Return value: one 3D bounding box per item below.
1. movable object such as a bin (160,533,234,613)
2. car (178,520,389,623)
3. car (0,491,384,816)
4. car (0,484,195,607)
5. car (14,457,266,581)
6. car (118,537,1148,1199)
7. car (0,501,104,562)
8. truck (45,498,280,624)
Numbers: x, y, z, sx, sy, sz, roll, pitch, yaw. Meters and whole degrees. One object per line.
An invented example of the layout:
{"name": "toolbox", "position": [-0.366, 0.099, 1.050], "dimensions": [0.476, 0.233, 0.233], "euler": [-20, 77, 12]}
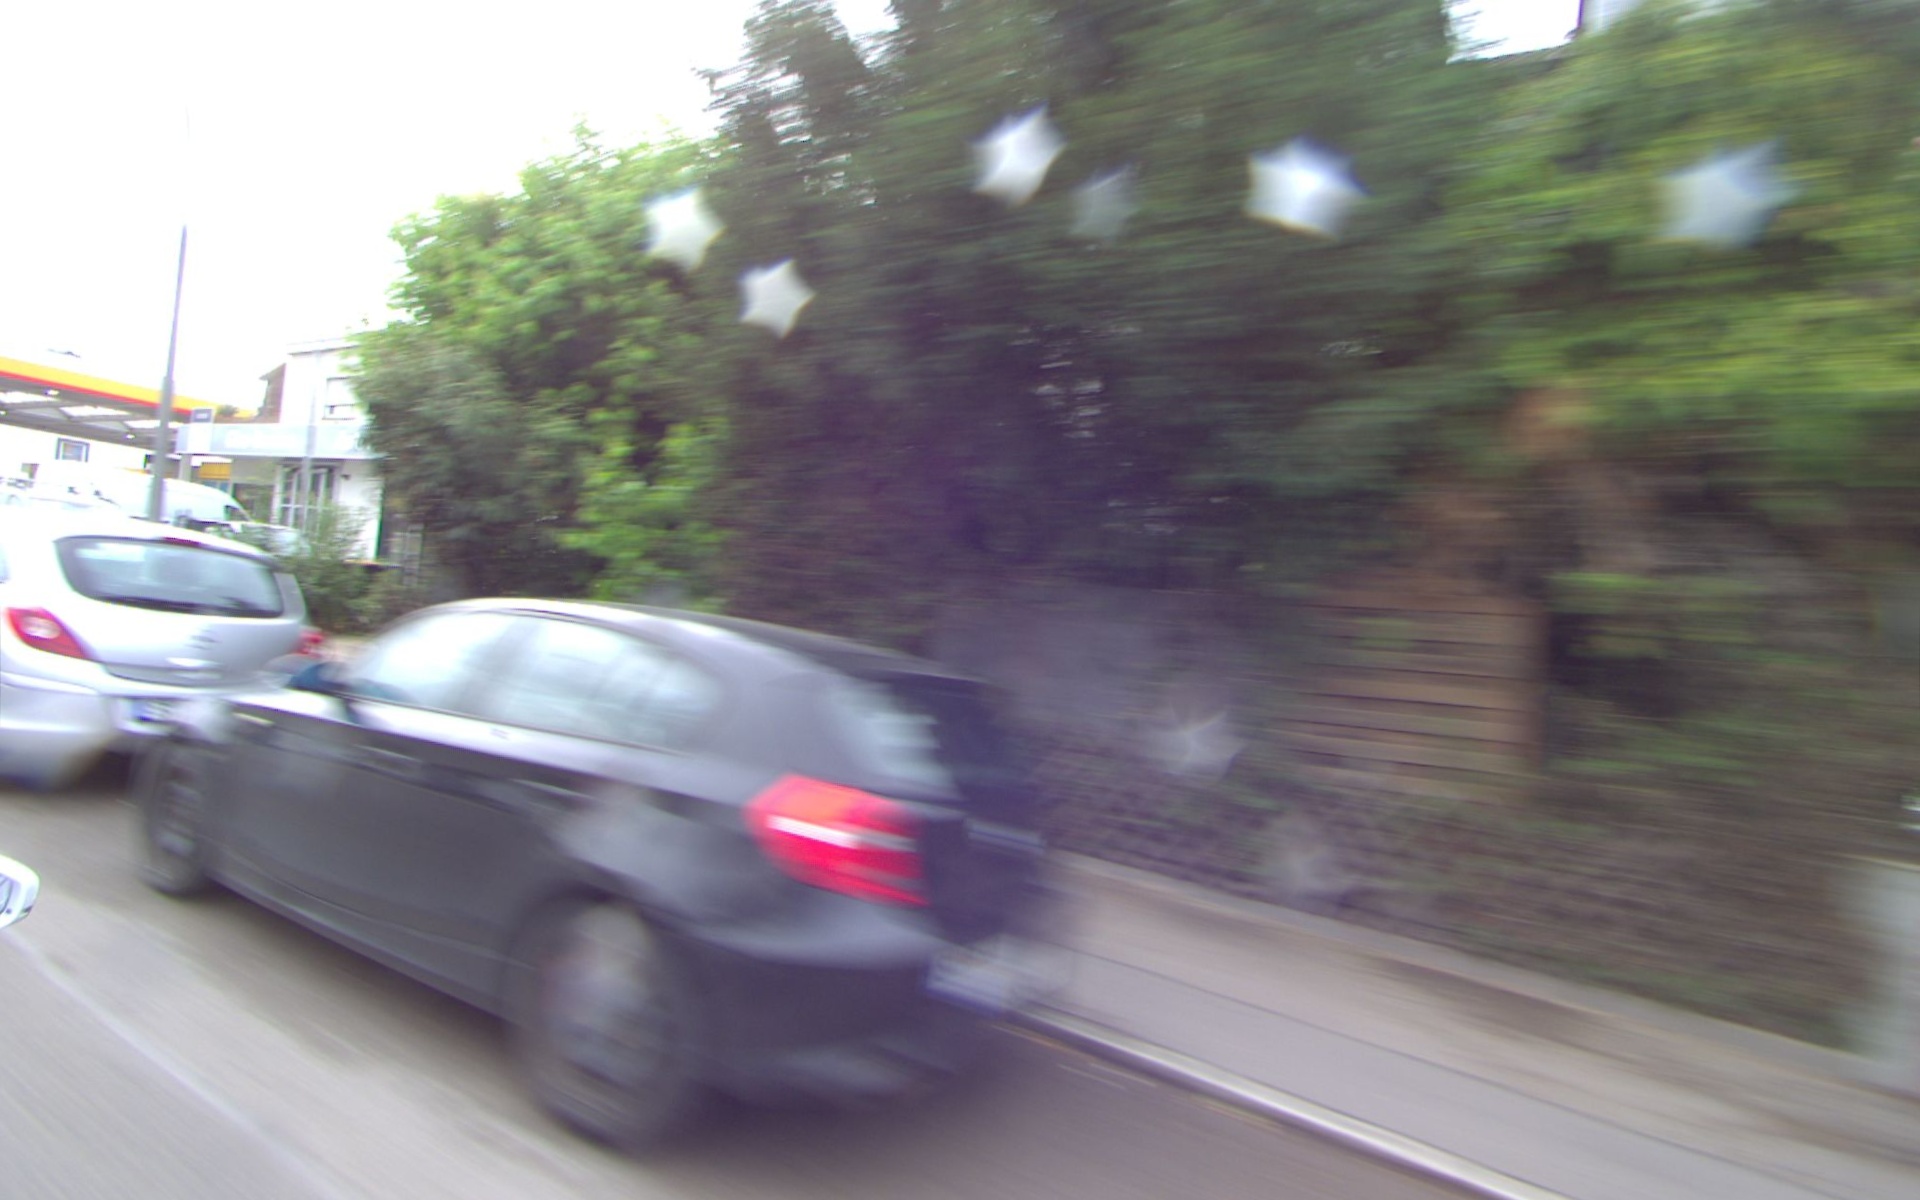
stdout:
{"name": "movable object such as a bin", "position": [-11.334, -0.395, 14.945], "dimensions": [0.670, 1.088, 0.575], "euler": [7, 0, 31]}
{"name": "car", "position": [-12.798, -0.541, 19.007], "dimensions": [3.667, 1.540, 1.748], "euler": [7, 2, 28]}
{"name": "car", "position": [-5.633, 0.171, 6.414], "dimensions": [3.819, 1.519, 1.741], "euler": [7, -3, 34]}
{"name": "car", "position": [-15.648, -1.004, 17.621], "dimensions": [3.930, 1.703, 1.998], "euler": [7, -1, 28]}
{"name": "car", "position": [-21.907, -2.064, 27.210], "dimensions": [2.204, 2.550, 4.808], "euler": [7, -1, 10]}
{"name": "car", "position": [-1.386, 0.726, 3.922], "dimensions": [3.657, 1.418, 1.741], "euler": [7, -3, 32]}
{"name": "car", "position": [-24.910, -1.856, 26.620], "dimensions": [1.752, 1.391, 3.989], "euler": [7, -1, -14]}
{"name": "truck", "position": [-12.423, -0.573, 15.753], "dimensions": [1.307, 1.548, 2.554], "euler": [7, -1, 39]}
